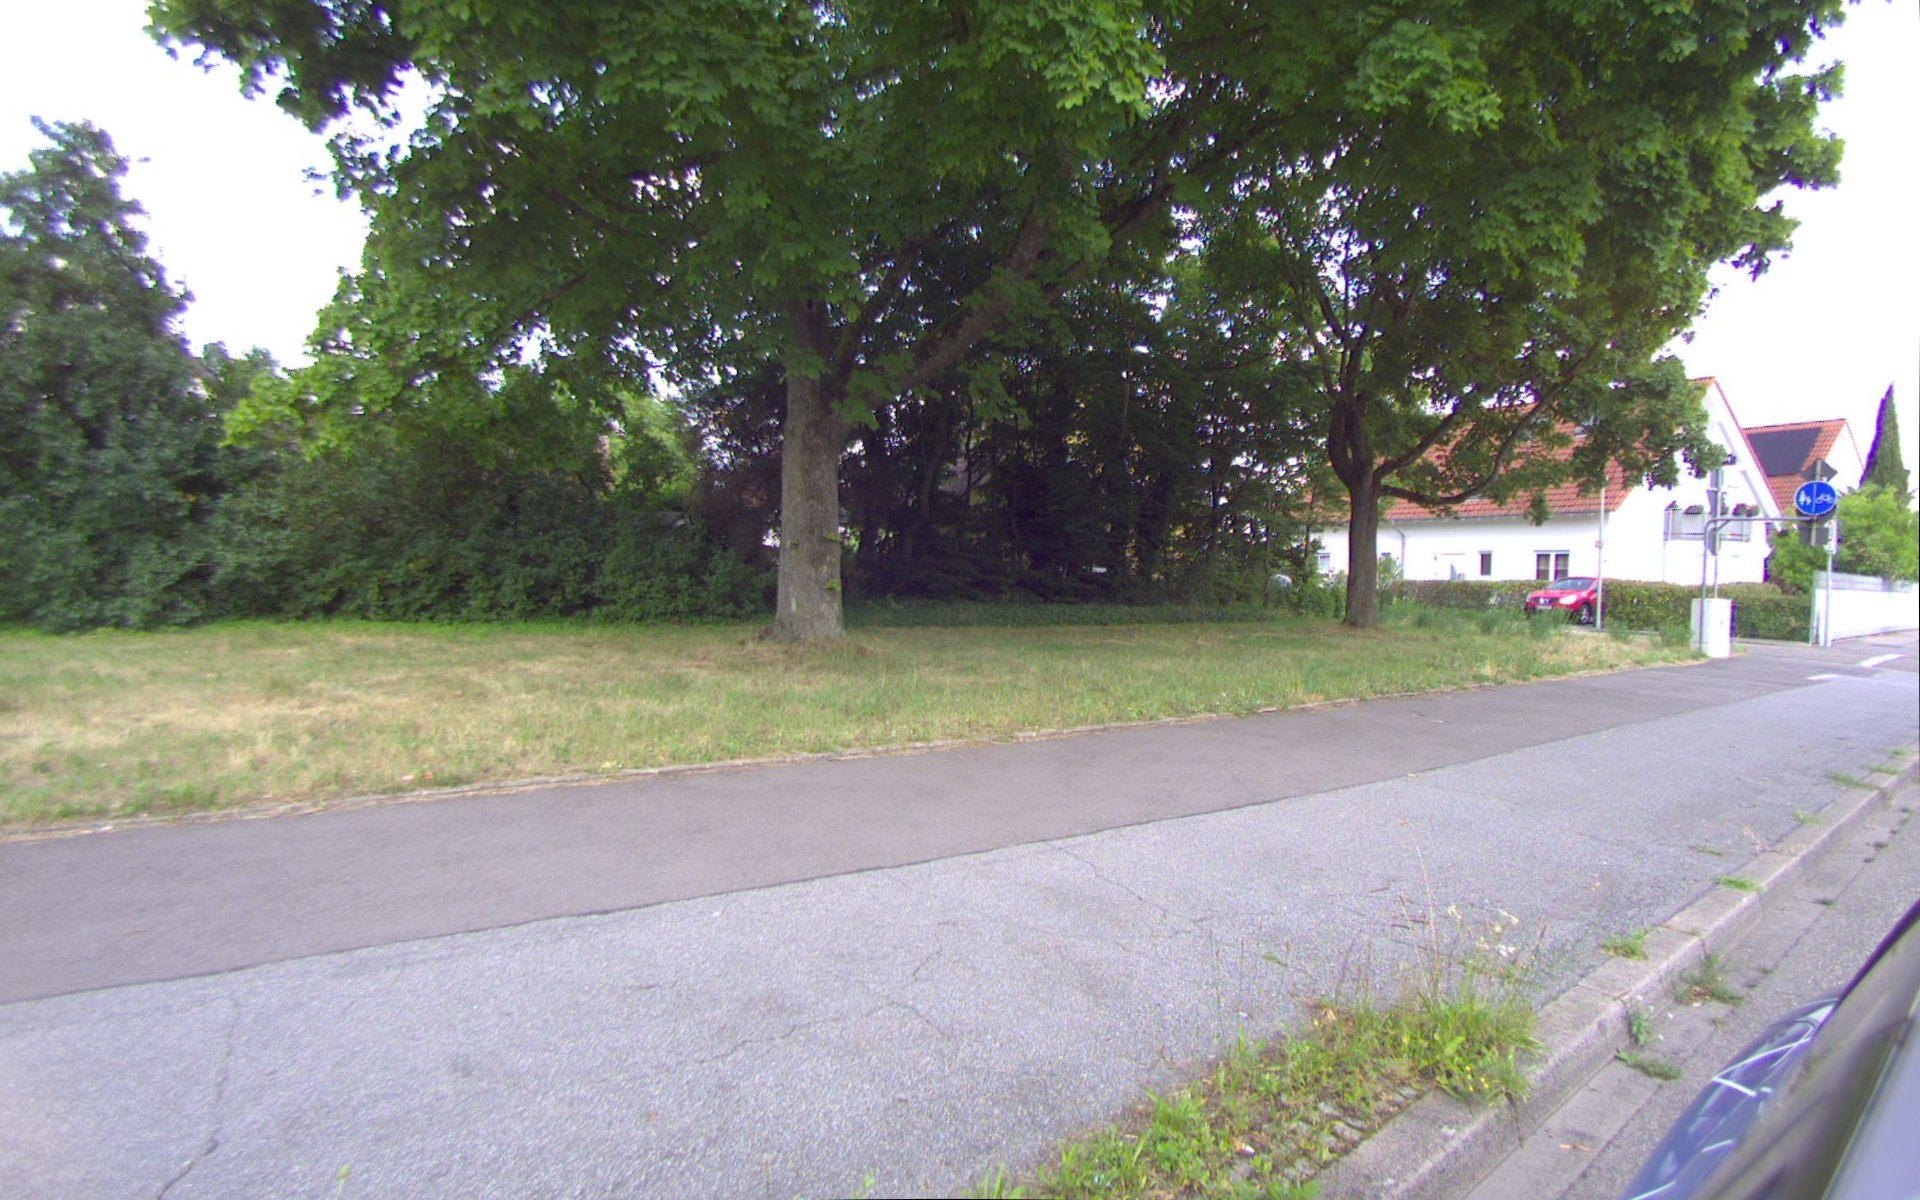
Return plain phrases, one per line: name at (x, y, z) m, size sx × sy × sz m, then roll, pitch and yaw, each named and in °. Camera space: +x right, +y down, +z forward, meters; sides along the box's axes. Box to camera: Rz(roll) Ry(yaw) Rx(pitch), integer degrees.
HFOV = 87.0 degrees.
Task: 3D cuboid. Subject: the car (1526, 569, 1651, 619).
car at (20.986, -0.176, 33.754) m, size 4.305 × 1.549 × 1.684 m, roll 1°, pitch 2°, yaw -30°
